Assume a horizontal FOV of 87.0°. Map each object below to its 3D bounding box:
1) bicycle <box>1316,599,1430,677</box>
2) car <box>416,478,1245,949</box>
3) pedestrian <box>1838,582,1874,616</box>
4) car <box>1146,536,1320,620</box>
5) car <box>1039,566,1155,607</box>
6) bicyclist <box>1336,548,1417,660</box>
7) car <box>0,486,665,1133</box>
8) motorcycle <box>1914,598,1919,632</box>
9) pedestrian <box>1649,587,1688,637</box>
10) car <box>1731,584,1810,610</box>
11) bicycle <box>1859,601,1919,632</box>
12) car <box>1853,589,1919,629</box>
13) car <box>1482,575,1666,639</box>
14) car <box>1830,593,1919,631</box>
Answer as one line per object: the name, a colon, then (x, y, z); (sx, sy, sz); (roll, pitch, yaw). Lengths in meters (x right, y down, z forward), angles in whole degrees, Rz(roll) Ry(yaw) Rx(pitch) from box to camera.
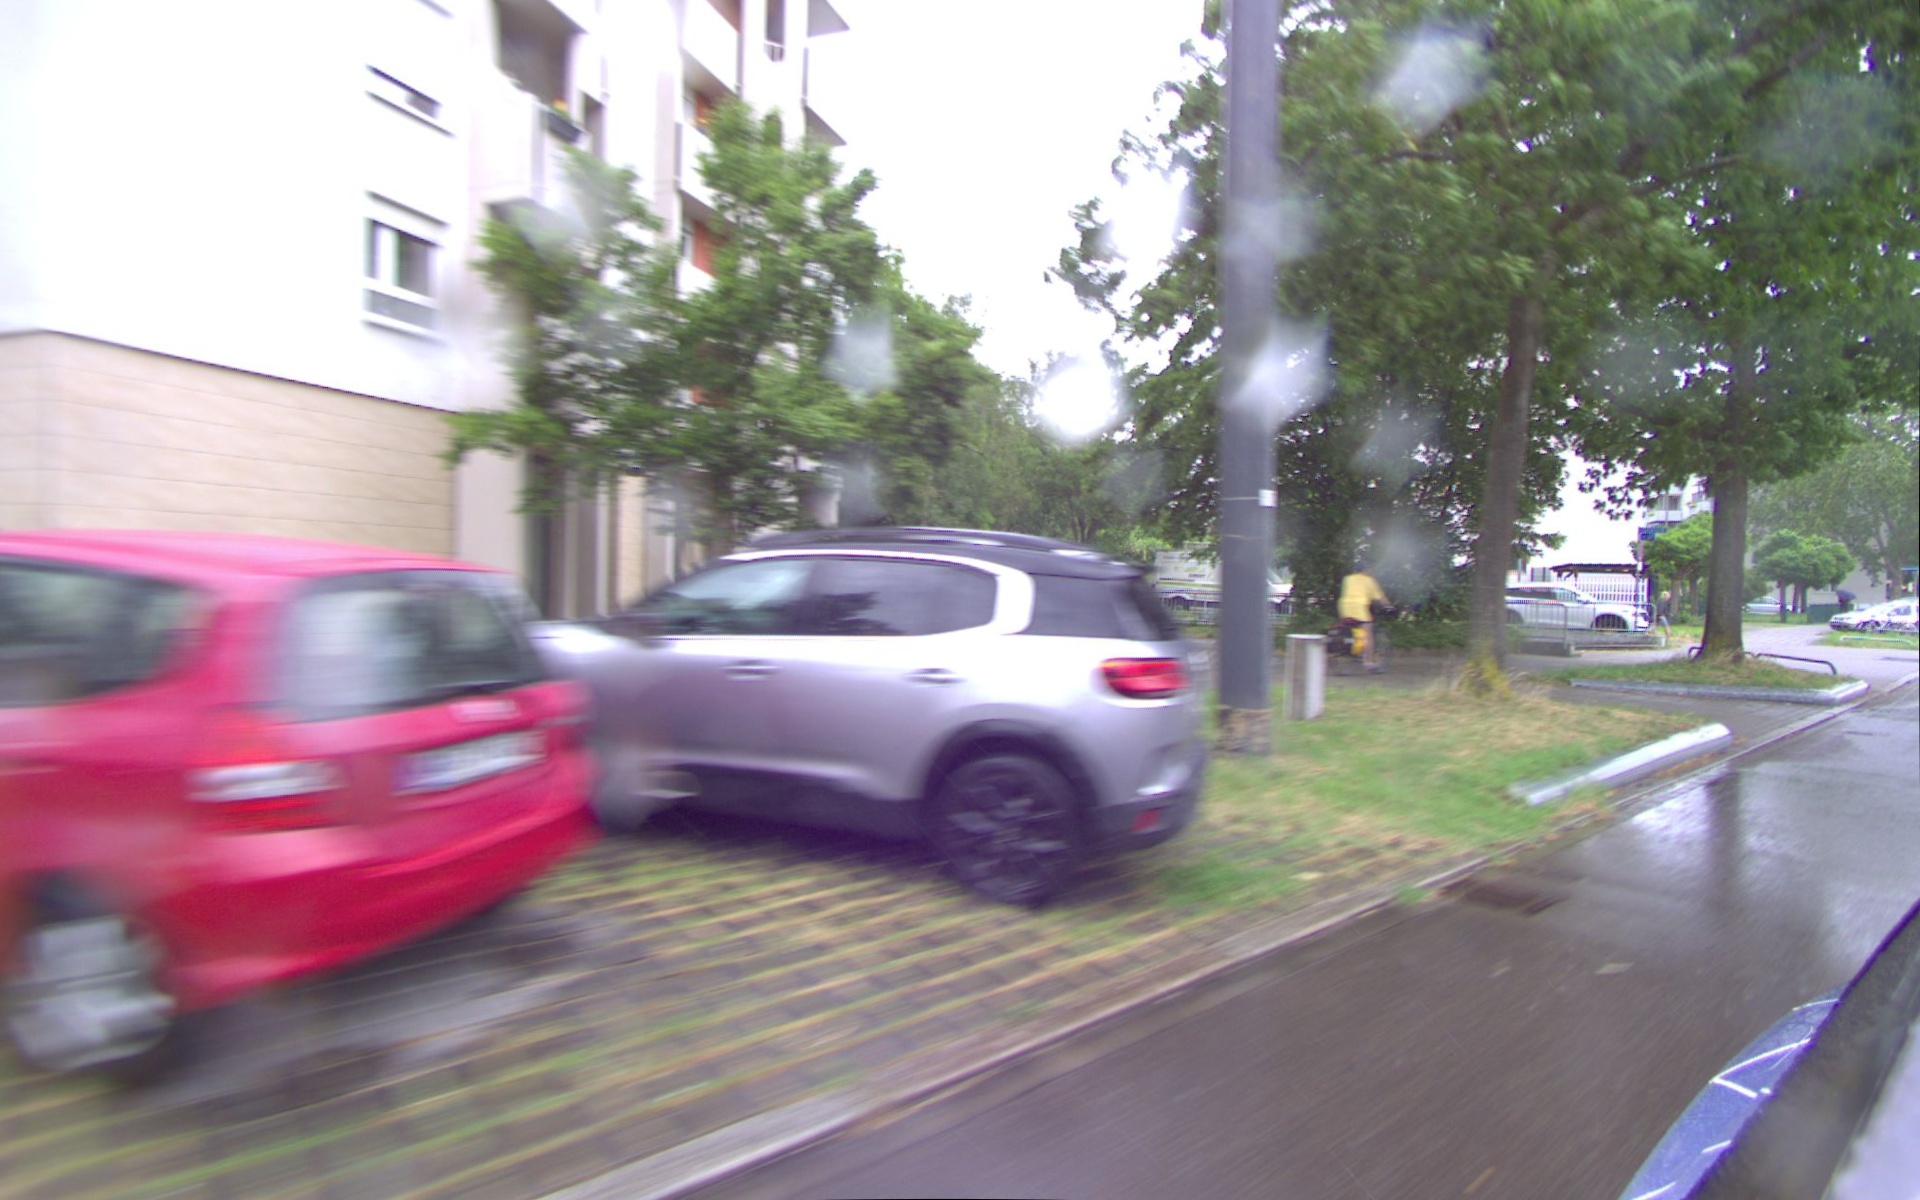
bicycle: (6.197, 0.534, 15.133); (2.015, 1.069, 0.736); (0, 2, -41)
car: (-0.608, 0.364, 5.666); (4.094, 1.740, 1.989); (5, 2, 18)
pedestrian: (50.289, -0.047, 56.803); (1.405, 1.836, 1.104); (1, 1, -32)
car: (10.395, -0.895, 38.800); (6.035, 3.000, 2.104); (2, 2, 34)
car: (5.653, -0.589, 41.927); (4.393, 1.545, 1.882); (2, 2, 37)
bicyclist: (6.240, 0.044, 15.157); (0.928, 1.613, 0.736); (0, 2, -41)
car: (-3.310, 0.397, 3.824); (3.829, 1.586, 1.726); (4, 2, 13)
motorcycle: (38.866, 0.648, 39.820); (1.753, 1.353, 0.687); (3, 2, 12)
pedestrian: (23.650, 0.388, 33.795); (0.830, 1.590, 0.809); (2, 1, 21)
car: (60.396, -0.258, 75.495); (1.838, 1.701, 4.303); (0, 3, -40)
bicycle: (36.927, 0.636, 40.087); (1.921, 1.115, 0.629); (2, 1, 3)
car: (42.256, 0.425, 44.294); (4.289, 1.671, 1.849); (2, 2, 16)
car: (19.173, 0.161, 31.747); (4.786, 1.767, 1.976); (2, 2, 34)
car: (39.251, 0.524, 42.213); (4.062, 1.440, 1.732); (3, 2, 12)
